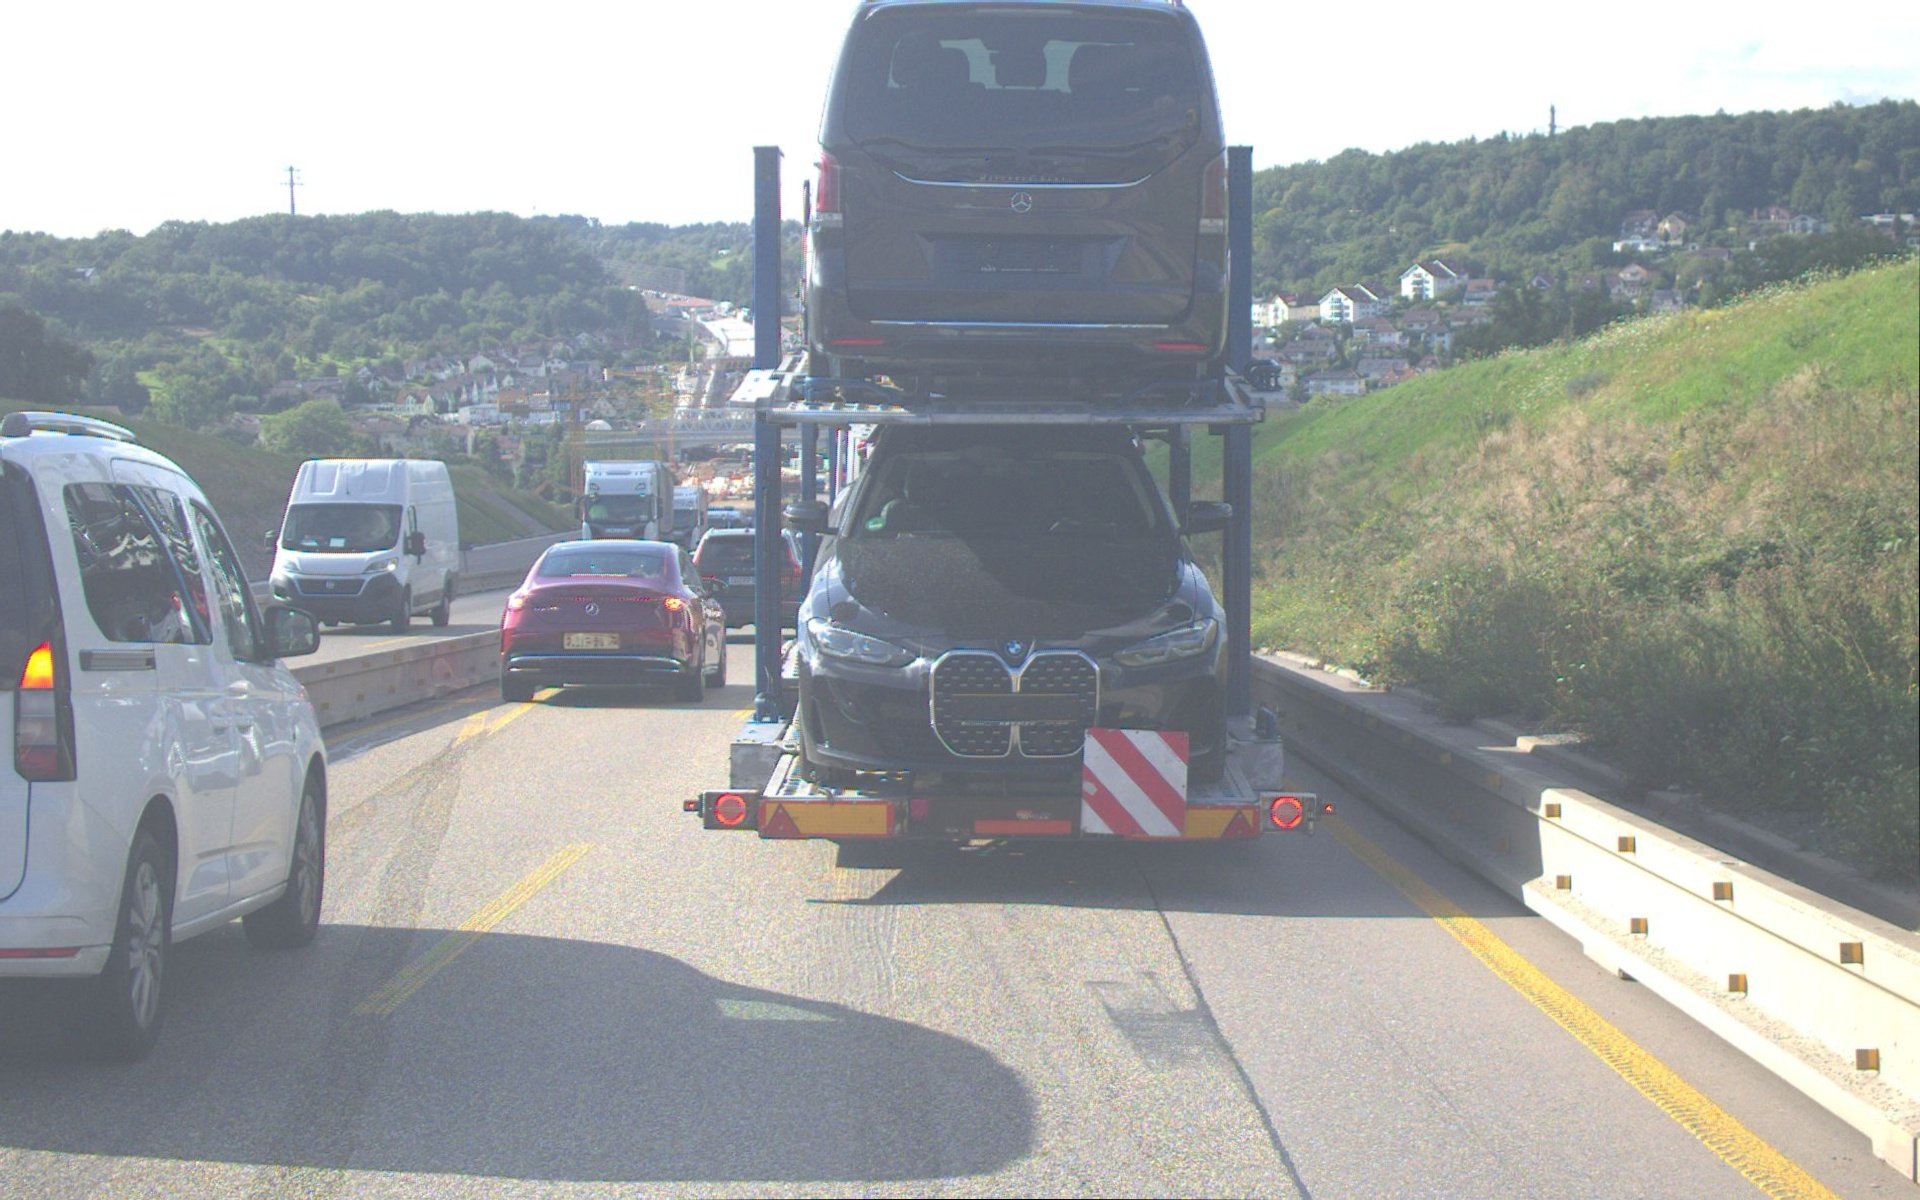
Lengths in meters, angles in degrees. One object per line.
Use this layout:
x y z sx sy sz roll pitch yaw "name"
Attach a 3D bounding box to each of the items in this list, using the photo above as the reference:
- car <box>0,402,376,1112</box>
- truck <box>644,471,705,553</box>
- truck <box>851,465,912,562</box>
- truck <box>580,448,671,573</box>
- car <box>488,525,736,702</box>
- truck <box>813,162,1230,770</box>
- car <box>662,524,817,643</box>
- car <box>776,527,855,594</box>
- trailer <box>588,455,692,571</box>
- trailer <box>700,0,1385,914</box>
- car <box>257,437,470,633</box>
-3.173 0.328 11.034 1.823 1.817 4.456 1 2 0 "car"
-14.657 -4.507 176.948 2.638 4.085 10.820 0 1 -2 "truck"
-3.840 -4.177 167.425 2.863 4.555 11.659 0 1 -1 "truck"
-11.391 -3.034 117.348 2.614 4.139 5.782 0 1 -1 "truck"
-3.191 0.065 32.359 1.823 1.487 4.685 1 2 0 "car"
0.339 -0.927 25.162 2.678 3.908 6.028 0 1 -1 "truck"
-3.163 -0.280 50.152 1.993 1.619 4.750 1 1 -1 "car"
-3.533 -0.987 84.499 1.796 1.591 4.743 0 1 -1 "car"
-11.457 -3.121 124.211 2.614 3.940 13.875 0 1 -1 "trailer"
0.313 -0.882 19.335 2.708 4.015 11.420 0 1 0 "trailer"
-9.319 -1.017 54.231 2.110 2.826 6.139 -3 1 1 "car"
